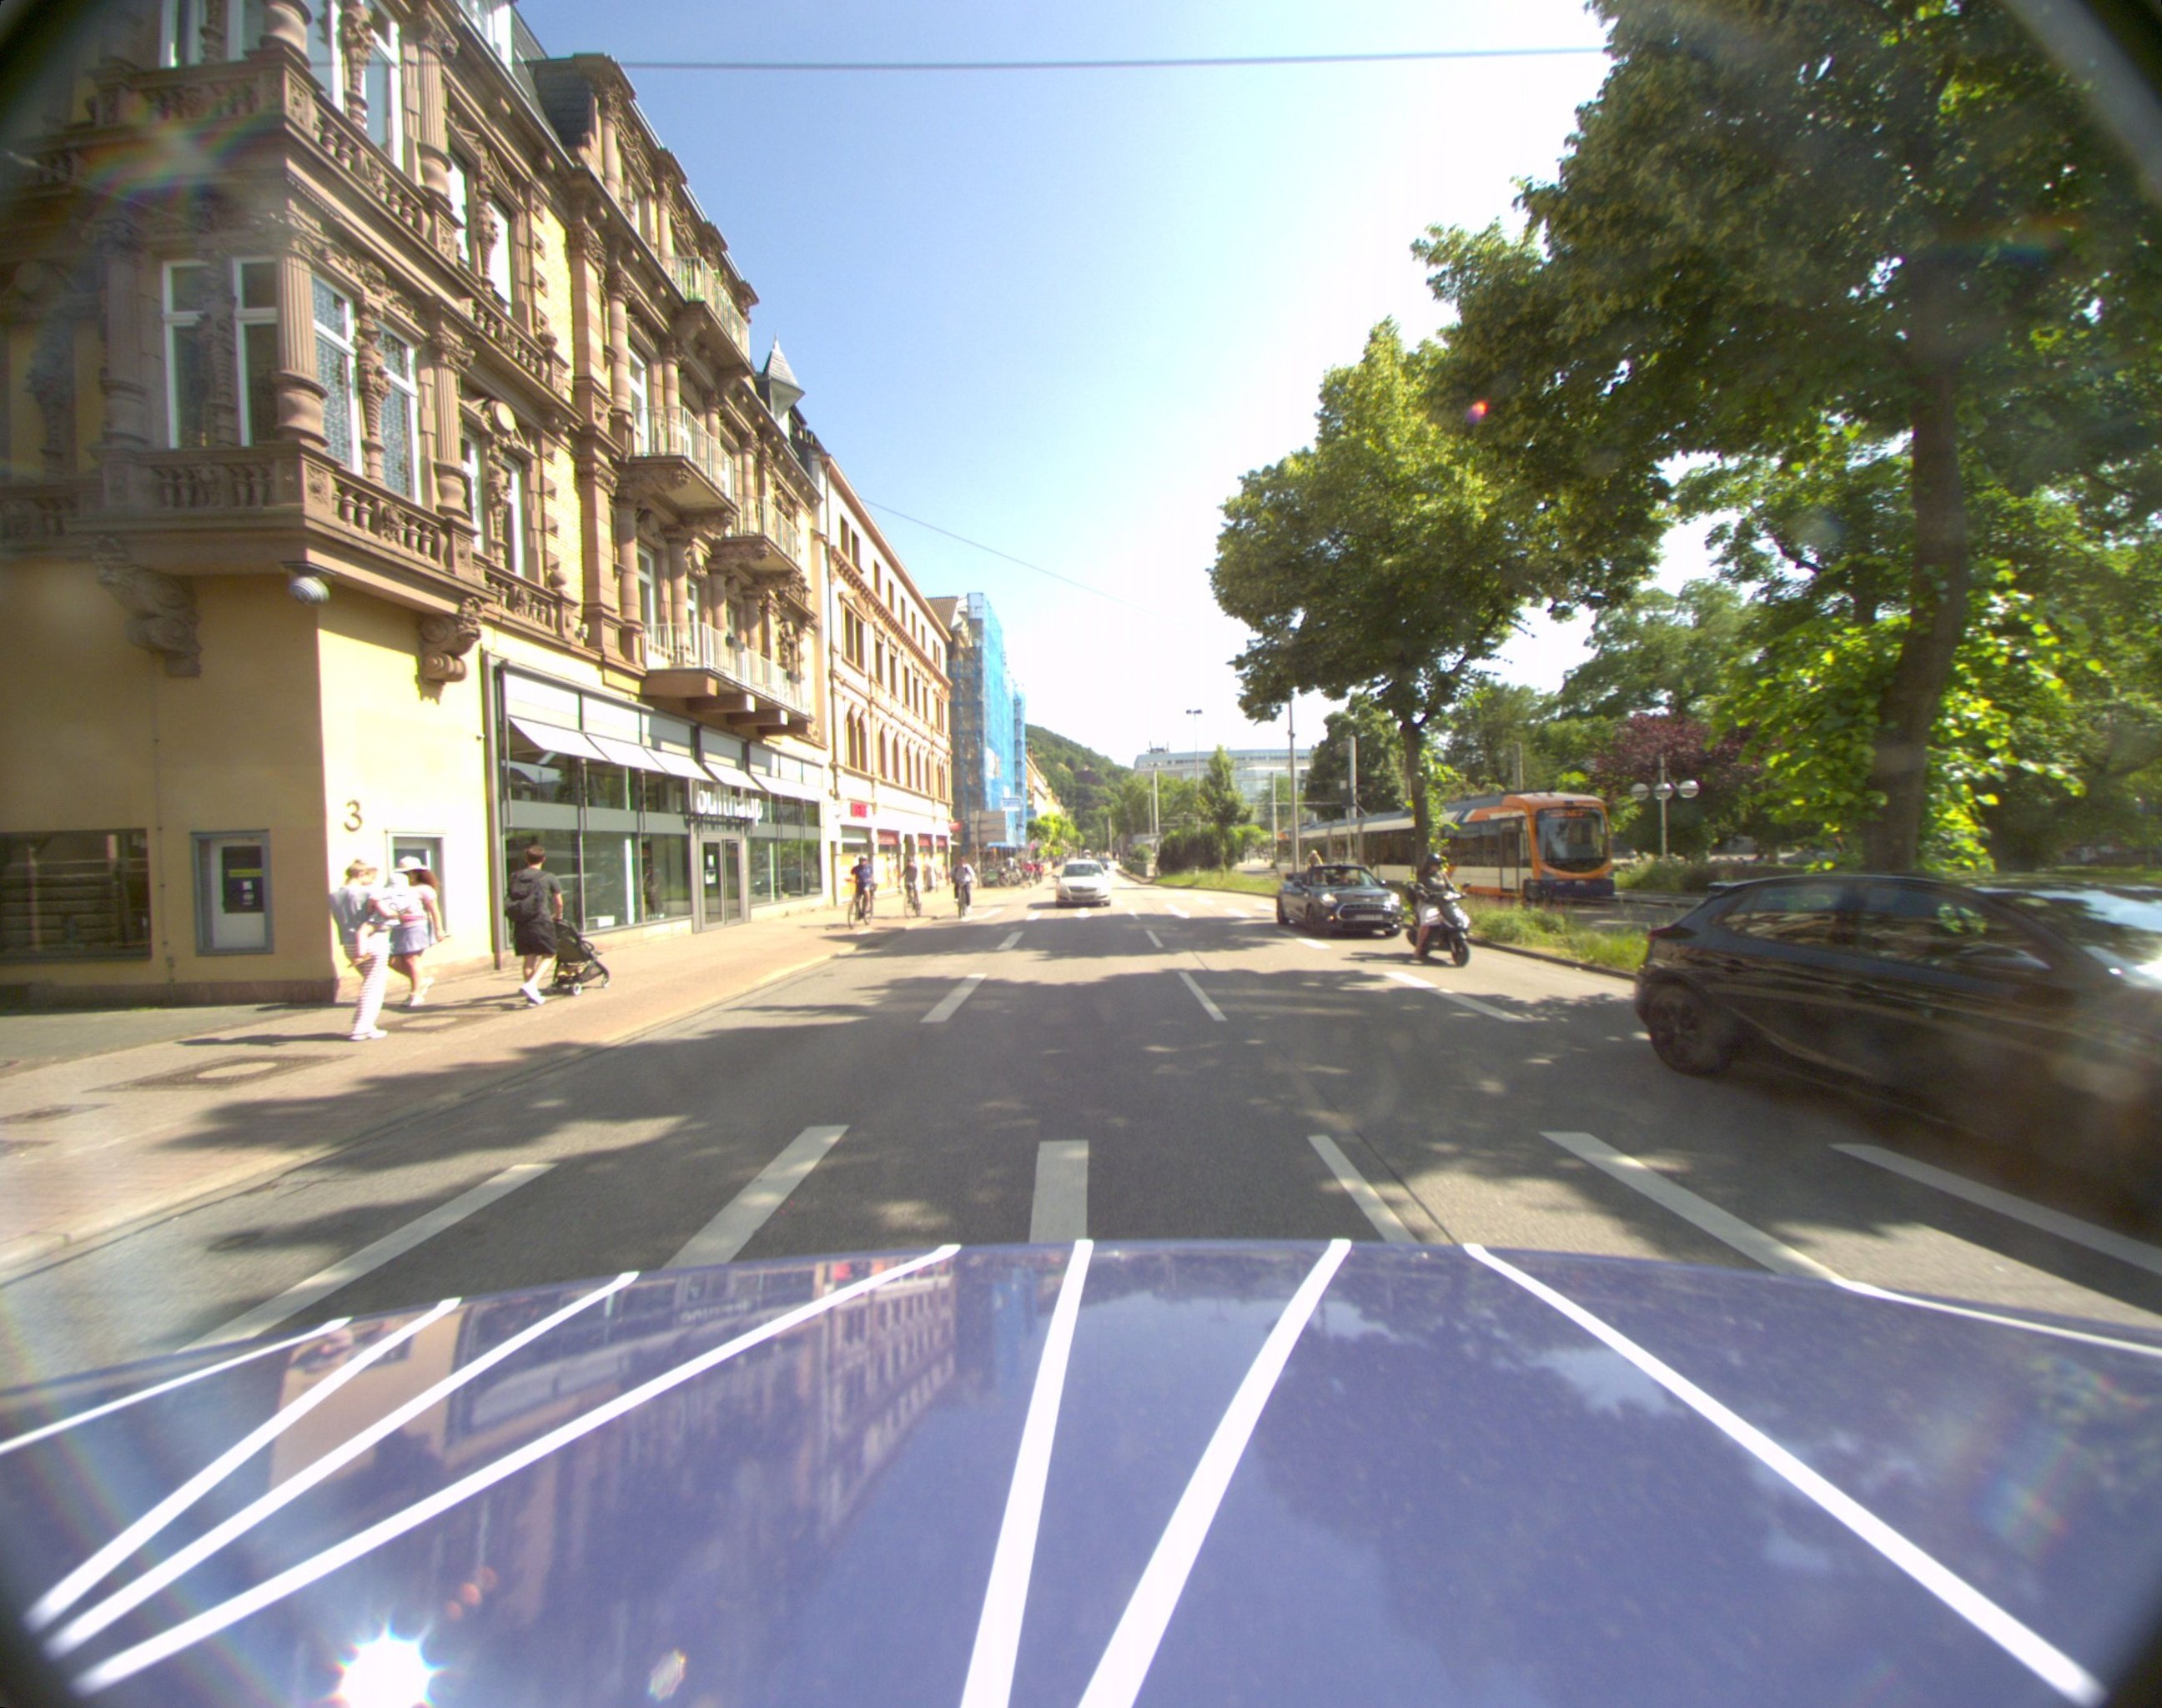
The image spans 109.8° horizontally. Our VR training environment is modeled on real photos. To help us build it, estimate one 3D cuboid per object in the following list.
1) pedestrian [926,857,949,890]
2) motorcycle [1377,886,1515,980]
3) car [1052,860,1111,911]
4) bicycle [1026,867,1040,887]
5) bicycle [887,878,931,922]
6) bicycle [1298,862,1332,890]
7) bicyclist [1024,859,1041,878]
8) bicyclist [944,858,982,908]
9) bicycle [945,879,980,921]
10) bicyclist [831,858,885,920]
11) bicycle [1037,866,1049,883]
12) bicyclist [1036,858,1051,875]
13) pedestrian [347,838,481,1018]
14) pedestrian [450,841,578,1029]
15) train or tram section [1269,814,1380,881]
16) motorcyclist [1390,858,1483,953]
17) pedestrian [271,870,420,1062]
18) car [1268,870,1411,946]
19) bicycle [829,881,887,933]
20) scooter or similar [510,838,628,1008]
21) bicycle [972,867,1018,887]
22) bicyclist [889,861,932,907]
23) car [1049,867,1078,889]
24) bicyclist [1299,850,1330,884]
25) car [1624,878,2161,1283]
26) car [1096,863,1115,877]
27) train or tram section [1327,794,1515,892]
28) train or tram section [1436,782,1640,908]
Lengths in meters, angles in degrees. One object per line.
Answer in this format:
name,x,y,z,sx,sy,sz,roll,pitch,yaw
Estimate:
pedestrian,-7.109,0.974,37.657,0.912,1.591,1.233,-1,0,0
motorcycle,5.318,1.103,11.300,0.902,1.156,2.353,-1,0,0
car,0.022,0.975,25.337,1.802,1.492,4.497,0,0,0
bicycle,-2.816,1.332,44.673,0.643,1.076,2.496,-1,0,0
bicycle,-4.822,1.262,21.462,0.643,1.076,2.496,-1,0,0
bicycle,9.915,0.918,32.293,0.643,1.077,2.496,-2,1,0
bicyclist,-2.857,0.827,44.680,0.912,1.062,1.233,-1,0,0
bicyclist,-3.434,0.831,22.181,0.912,1.385,1.233,-1,0,0
bicycle,-3.440,1.306,22.196,0.643,1.076,2.496,-1,0,-1
bicyclist,-5.340,0.817,18.262,0.912,1.428,1.233,-1,0,0
bicycle,-2.475,1.310,49.352,0.643,1.076,2.496,-1,0,0
bicyclist,-2.460,0.775,49.444,0.912,1.076,1.233,-1,0,0
pedestrian,-7.761,0.827,8.881,0.814,2.002,0.815,1,0,0
pedestrian,-6.320,0.866,8.520,0.814,2.002,0.815,1,0,0
train or tram section,14.057,-0.324,45.273,2.767,3.383,12.412,-1,0,1
motorcyclist,5.283,0.741,11.352,0.902,1.350,0.993,-1,0,0
pedestrian,-6.804,1.006,7.058,0.707,1.685,0.628,-1,2,3
car,5.204,1.031,15.840,1.637,1.301,3.914,0,0,0
bicycle,-5.345,1.244,18.381,0.643,1.076,2.496,-1,0,0
scooter or similar,-6.367,0.814,9.514,0.694,2.002,1.095,-1,0,0
bicycle,-4.832,1.298,42.812,2.493,1.076,0.644,-1,0,5
bicyclist,-4.785,0.830,21.345,0.912,1.227,1.233,-1,0,0
car,-1.386,1.931,61.315,1.998,1.564,4.001,-3,-1,2
bicyclist,9.918,0.541,32.335,0.912,1.385,1.233,-1,0,0
car,4.962,0.895,3.714,1.797,1.403,4.000,-1,0,1
car,2.818,1.840,88.763,1.999,1.546,4.497,-1,0,0
train or tram section,13.872,-0.360,32.756,2.766,3.383,12.412,-1,0,1
train or tram section,13.770,-0.232,23.543,2.767,3.383,5.886,-1,0,0
